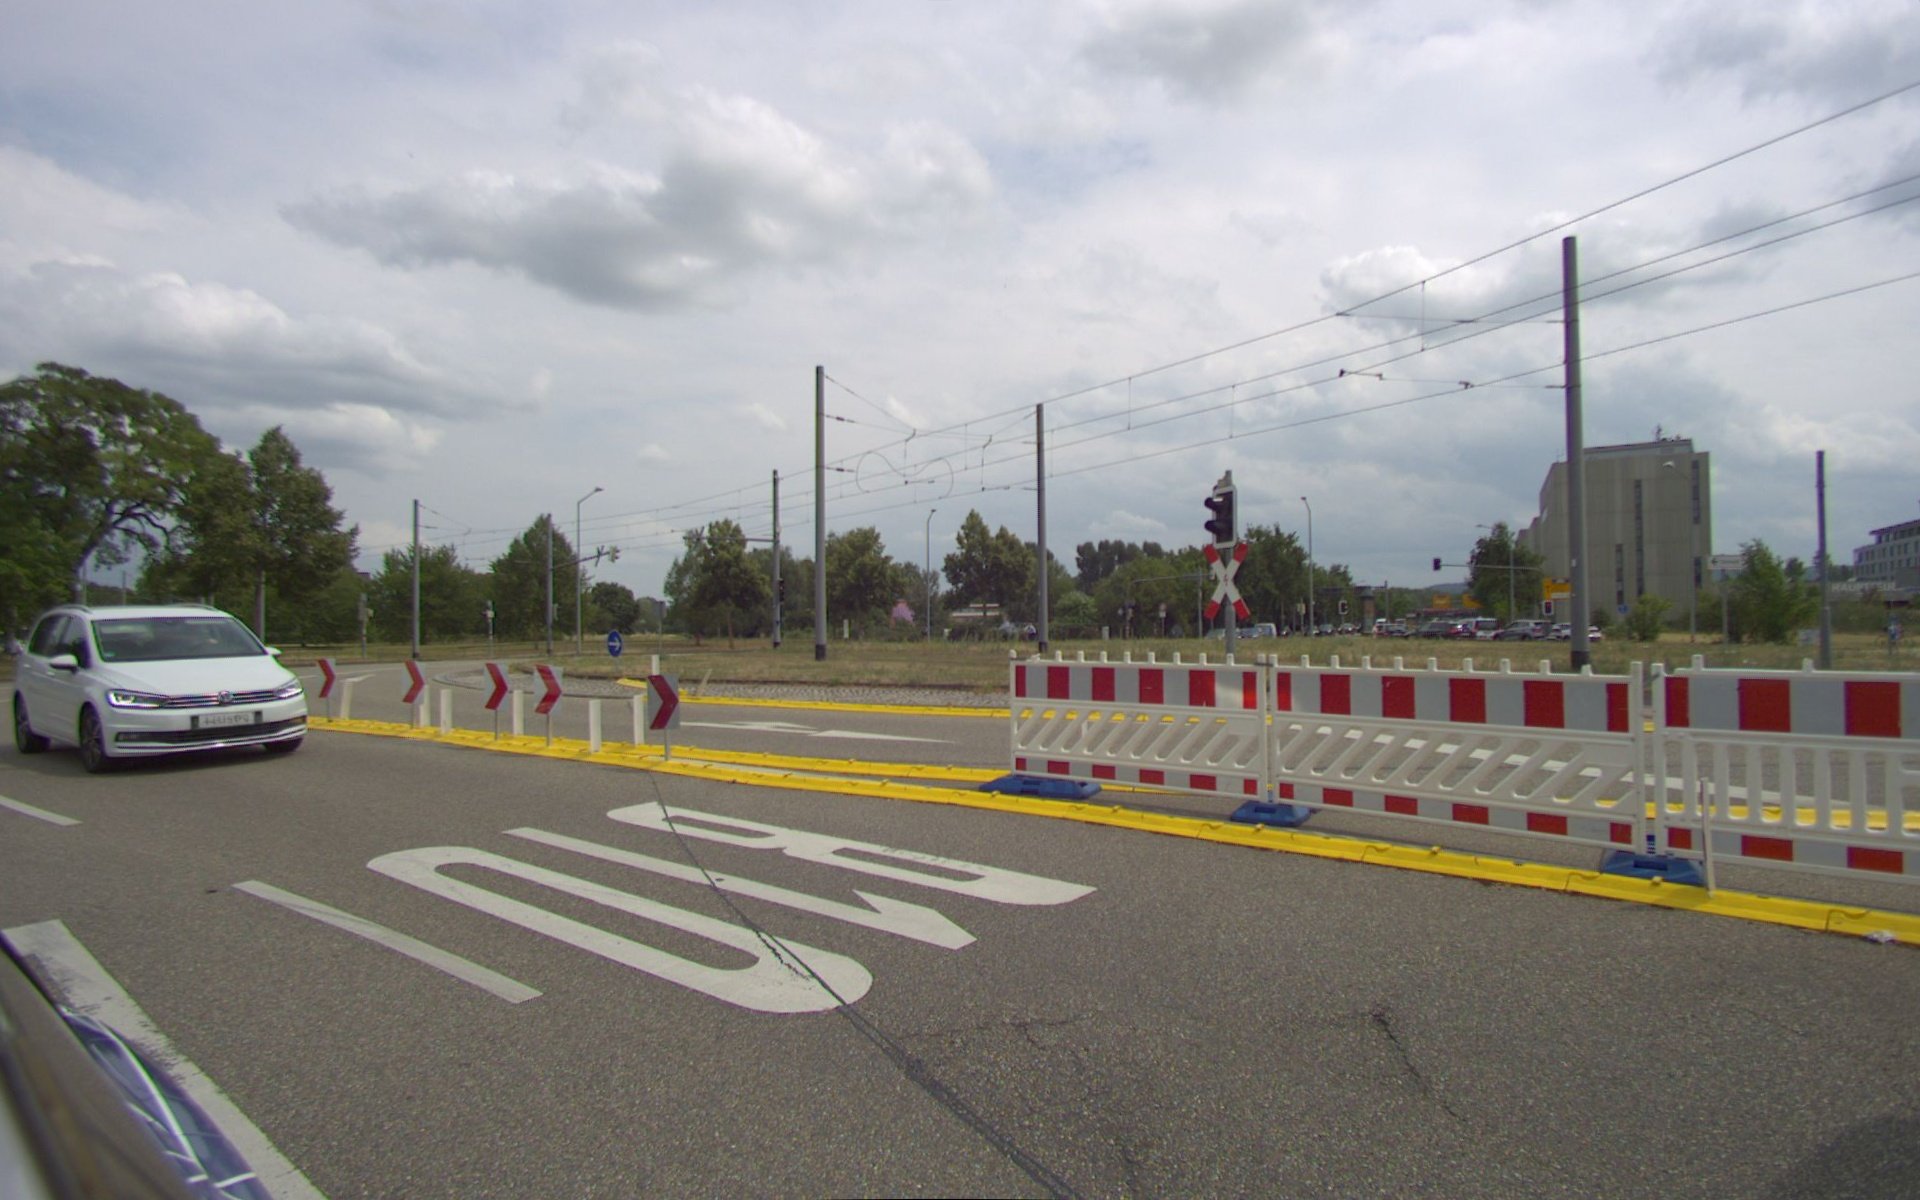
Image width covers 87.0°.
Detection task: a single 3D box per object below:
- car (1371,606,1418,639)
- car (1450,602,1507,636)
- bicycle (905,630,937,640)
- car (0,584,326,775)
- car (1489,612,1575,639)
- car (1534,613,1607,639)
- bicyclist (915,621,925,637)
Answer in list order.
[{"bbox_3d":[27.960,1.422,65.251,1.978,2.029,3.986,0,-1,11],"label":"car"},{"bbox_3d":[32.998,1.210,64.491,1.979,2.029,4.347,2,-1,11],"label":"car"},{"bbox_3d":[-3.312,2.985,86.159,2.630,0.861,0.861,-1,-2,11],"label":"bicycle"},{"bbox_3d":[-8.867,0.735,11.056,4.349,1.678,1.914,-2,0,38],"label":"car"},{"bbox_3d":[32.339,1.435,57.335,1.802,1.475,4.012,1,-2,-19],"label":"car"},{"bbox_3d":[36.435,1.531,60.513,1.806,1.475,4.002,1,-1,-2],"label":"car"},{"bbox_3d":[-3.371,2.468,86.174,0.667,1.420,0.861,-1,-2,10],"label":"bicyclist"}]
